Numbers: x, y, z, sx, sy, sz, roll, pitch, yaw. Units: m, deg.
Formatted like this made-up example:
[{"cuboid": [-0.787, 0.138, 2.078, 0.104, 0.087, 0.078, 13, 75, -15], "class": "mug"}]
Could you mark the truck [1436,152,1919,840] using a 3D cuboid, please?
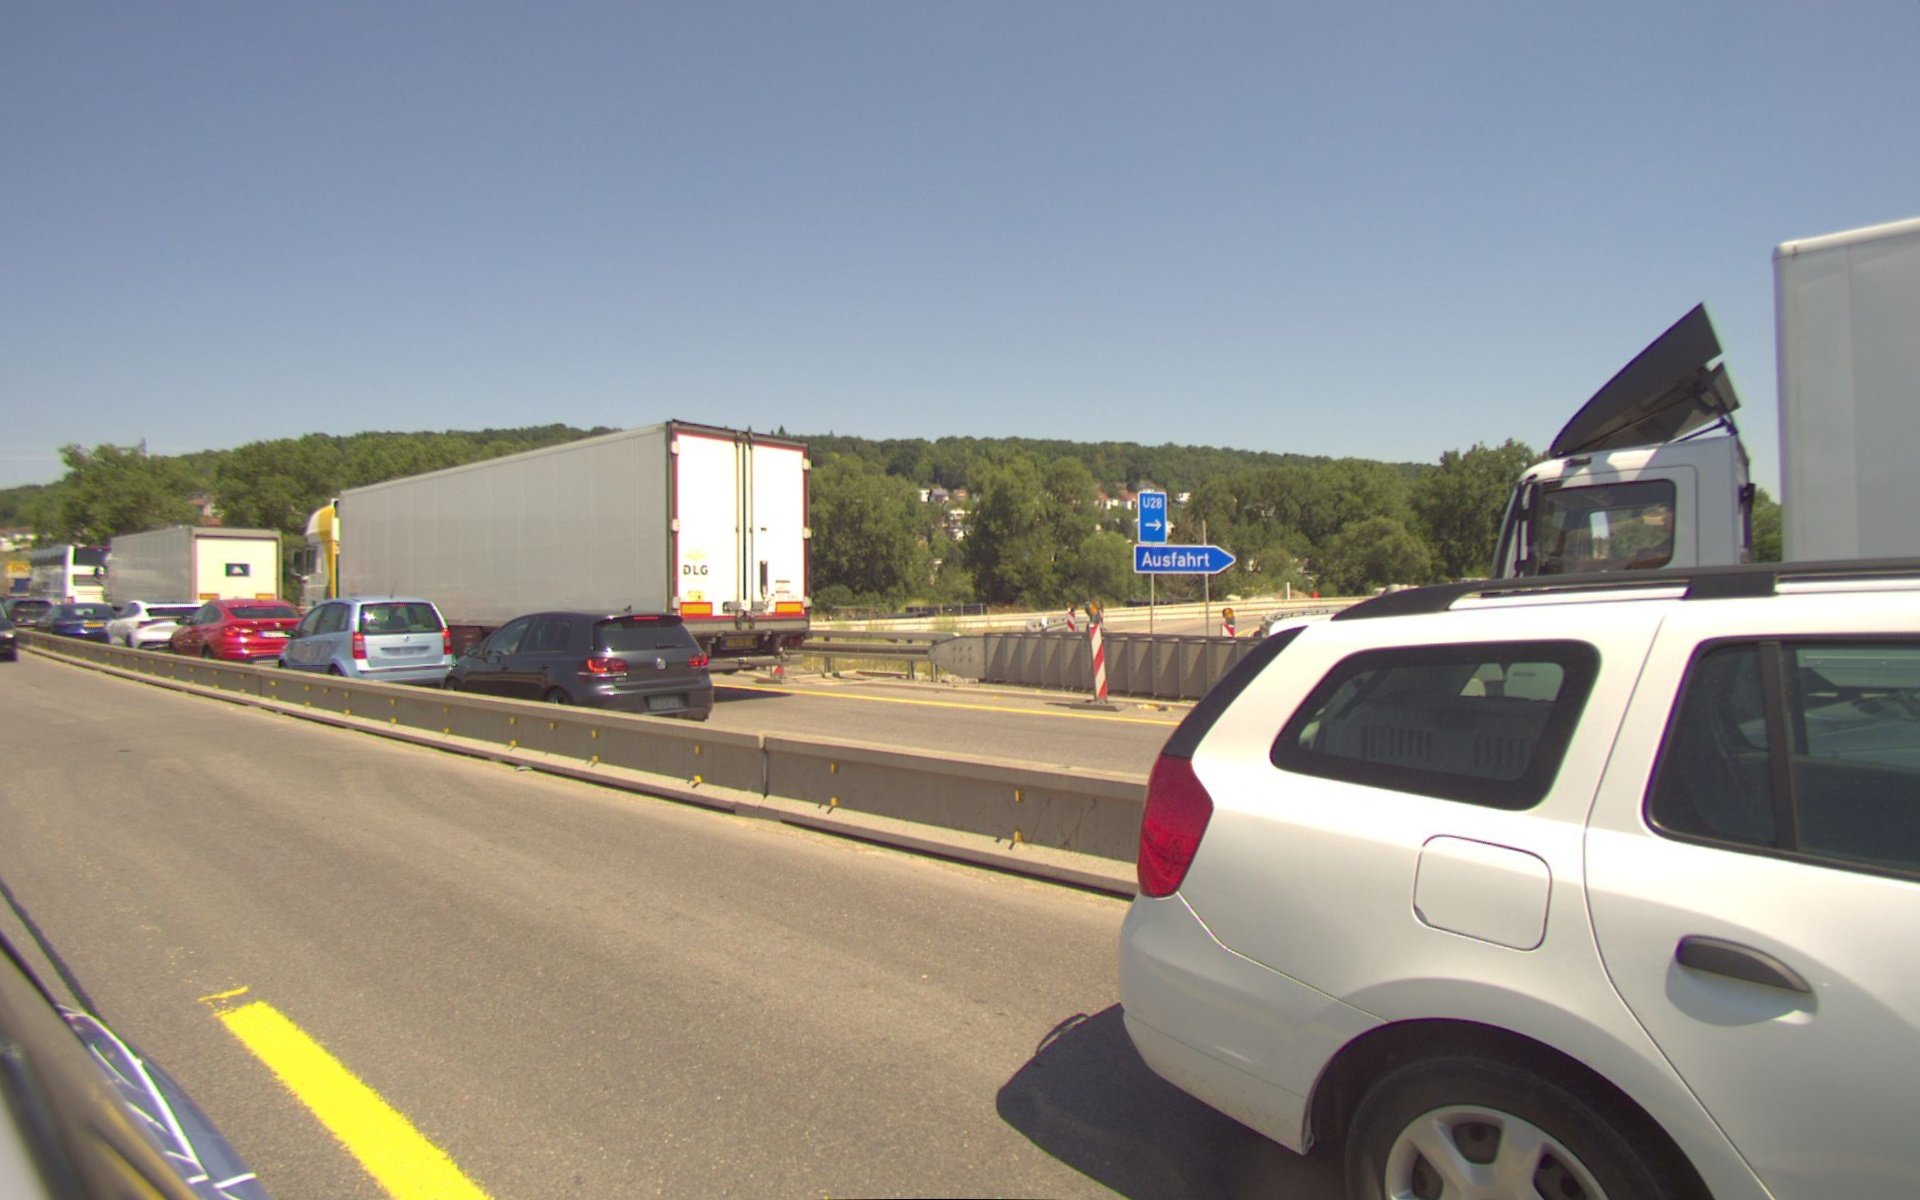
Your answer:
[{"cuboid": [7.584, -0.616, 5.500, 8.665, 3.885, 2.499, -1, -1, 41], "class": "truck"}]

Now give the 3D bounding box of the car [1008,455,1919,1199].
[{"cuboid": [2.471, 0.565, 1.704, 4.704, 1.542, 1.800, 0, 0, 42], "class": "car"}]

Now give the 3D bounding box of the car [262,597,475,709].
[{"cuboid": [-9.626, 0.743, 16.356, 3.998, 1.586, 1.808, 0, 0, 41], "class": "car"}]

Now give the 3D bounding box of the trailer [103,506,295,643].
[{"cuboid": [-29.343, -0.788, 38.580, 14.072, 4.417, 3.108, 0, 0, 41], "class": "trailer"}]

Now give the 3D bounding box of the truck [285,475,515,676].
[{"cuboid": [-13.543, -0.501, 24.308, 5.869, 4.216, 2.947, -1, 0, 40], "class": "truck"}]

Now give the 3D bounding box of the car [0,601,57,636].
[{"cuboid": [-40.941, 0.755, 44.050, 4.680, 1.434, 1.814, 0, 0, 41], "class": "car"}]

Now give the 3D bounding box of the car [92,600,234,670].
[{"cuboid": [-20.625, 0.873, 26.114, 4.878, 1.633, 1.973, -1, -1, 40], "class": "car"}]

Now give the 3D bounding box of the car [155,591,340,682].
[{"cuboid": [-14.732, 0.715, 20.812, 4.754, 1.643, 1.973, -2, 0, 41], "class": "car"}]

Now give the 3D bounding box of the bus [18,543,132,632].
[{"cuboid": [-47.884, -0.631, 54.507, 14.469, 4.296, 2.711, 0, 0, 41], "class": "bus"}]

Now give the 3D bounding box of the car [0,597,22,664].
[{"cuboid": [-26.121, 0.811, 26.472, 4.094, 1.705, 1.839, -1, -1, 40], "class": "car"}]

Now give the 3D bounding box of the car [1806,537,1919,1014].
[{"cuboid": [5.459, 0.564, 2.950, 4.544, 1.663, 1.808, -1, 3, 41], "class": "car"}]

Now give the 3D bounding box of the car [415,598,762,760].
[{"cuboid": [-4.504, 0.804, 11.970, 4.335, 1.569, 1.973, -1, -1, 40], "class": "car"}]

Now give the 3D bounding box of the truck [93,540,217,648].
[{"cuboid": [-34.218, -0.192, 42.911, 6.700, 4.230, 3.064, -1, -1, 42], "class": "truck"}]

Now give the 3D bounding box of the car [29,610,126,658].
[{"cuboid": [-29.338, 1.119, 33.590, 5.119, 1.448, 1.793, -2, 0, 42], "class": "car"}]

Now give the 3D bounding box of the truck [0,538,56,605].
[{"cuboid": [-66.259, -1.881, 71.289, 10.078, 4.184, 2.772, -1, -3, 43], "class": "truck"}]

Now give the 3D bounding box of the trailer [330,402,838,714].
[{"cuboid": [-8.134, -0.537, 19.519, 13.940, 4.240, 2.955, 0, 0, 41], "class": "trailer"}]
